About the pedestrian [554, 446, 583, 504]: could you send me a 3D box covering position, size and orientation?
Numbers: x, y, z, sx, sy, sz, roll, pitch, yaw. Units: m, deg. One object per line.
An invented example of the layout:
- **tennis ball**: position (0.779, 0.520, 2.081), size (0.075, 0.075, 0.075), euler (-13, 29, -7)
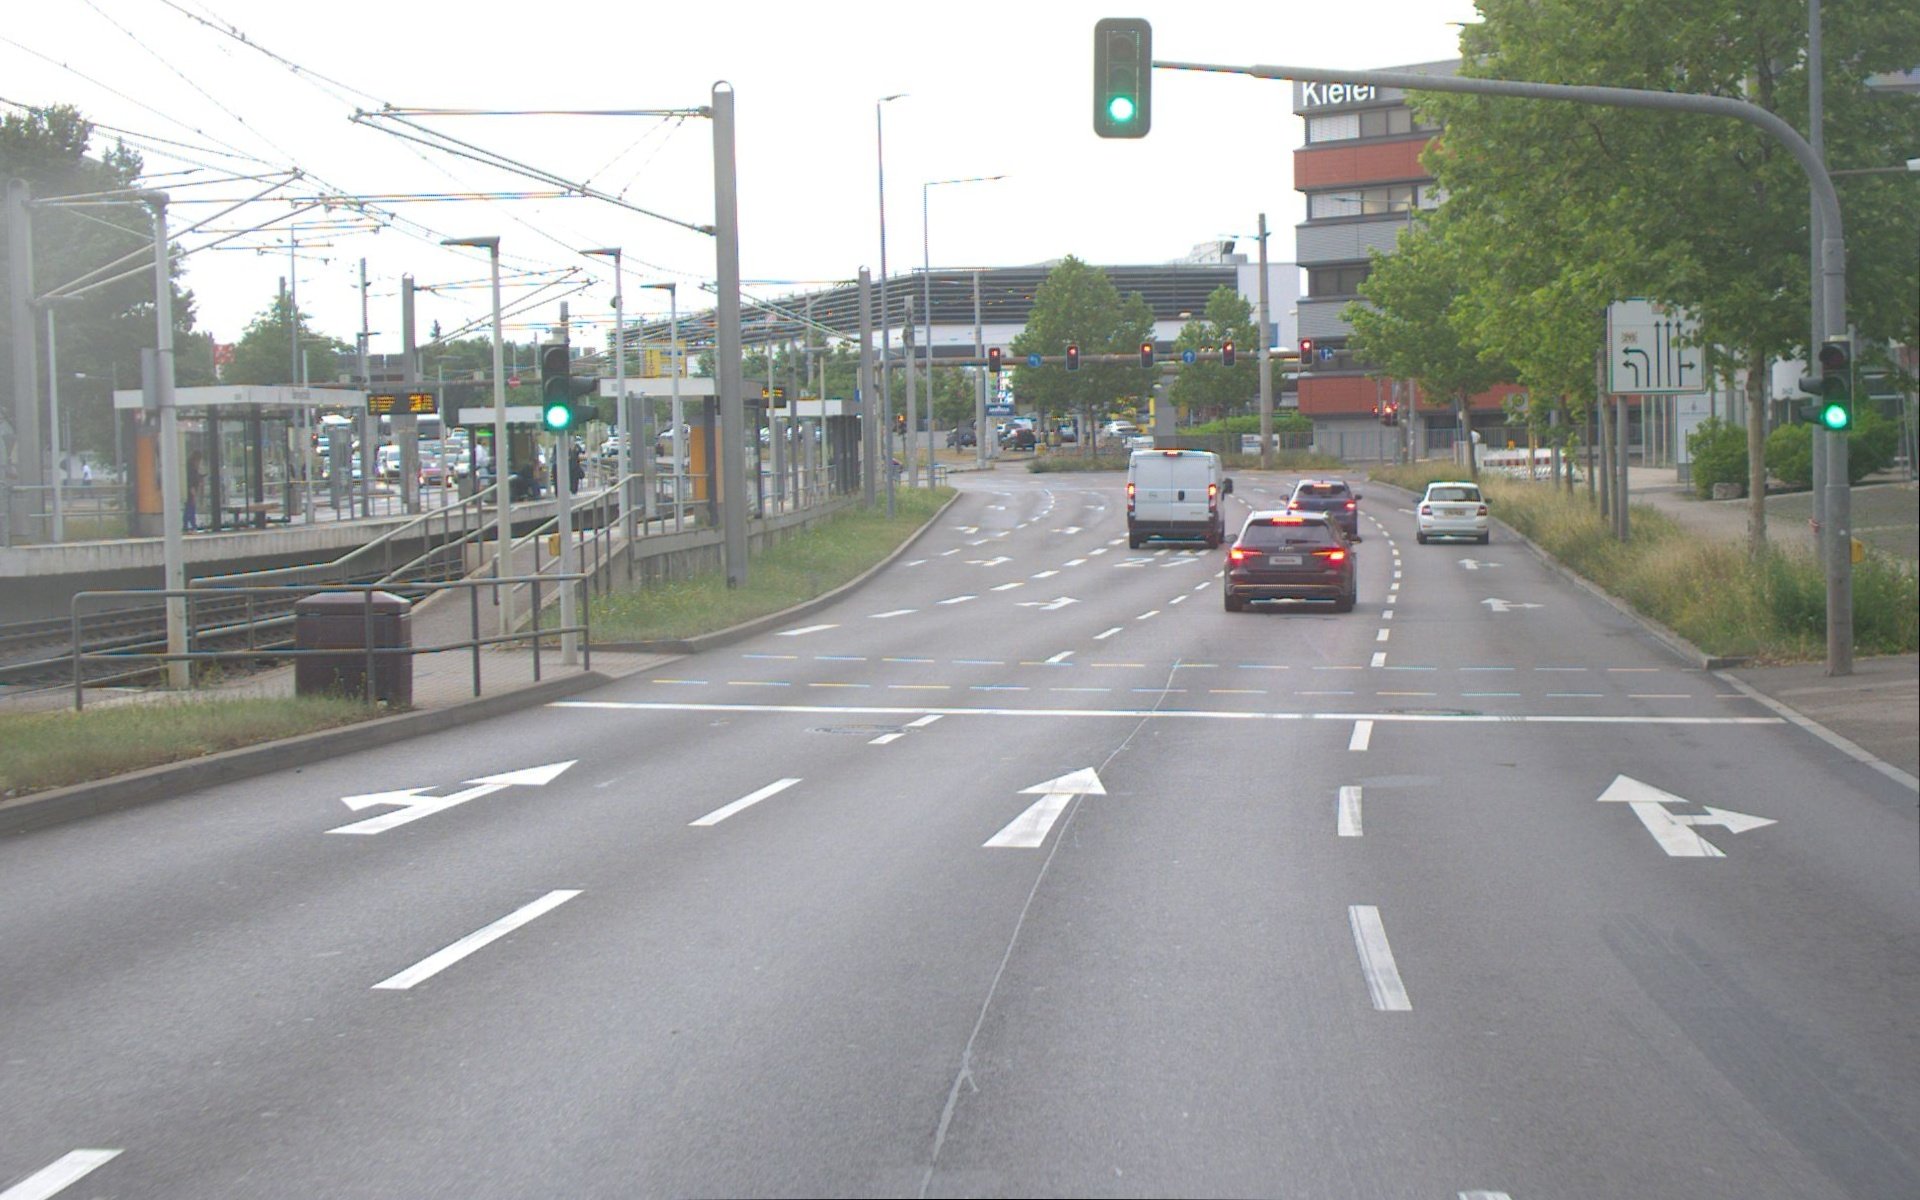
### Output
- **pedestrian**: position (-11.722, -3.744, 102.991), size (0.729, 1.709, 0.831), euler (0, 1, 4)

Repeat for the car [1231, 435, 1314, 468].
- **car**: position (15.837, -7.525, 174.250), size (2.022, 1.617, 3.999), euler (-1, 3, -38)

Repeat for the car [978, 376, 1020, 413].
- **car**: position (2.405, -12.700, 212.817), size (1.993, 2.007, 4.001), euler (0, 0, -8)

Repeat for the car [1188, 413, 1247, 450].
- **car**: position (15.489, -10.108, 206.835), size (1.993, 2.007, 4.001), euler (0, 0, -22)

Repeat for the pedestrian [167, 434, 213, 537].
- **pedestrian**: position (-13.990, -2.079, 62.442), size (0.637, 1.848, 0.751), euler (0, -1, 2)

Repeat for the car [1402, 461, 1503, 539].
- **car**: position (11.788, -2.418, 82.518), size (2.021, 1.763, 4.000), euler (0, 3, 3)

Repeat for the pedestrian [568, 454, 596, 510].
- **pedestrian**: position (-12.027, -3.761, 109.356), size (0.752, 1.745, 0.764), euler (0, -1, 3)

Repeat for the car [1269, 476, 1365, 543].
- **car**: position (8.879, -2.272, 85.761), size (2.021, 1.617, 4.000), euler (0, 2, 1)

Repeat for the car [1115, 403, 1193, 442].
- **car**: position (10.377, -9.479, 184.127), size (1.994, 2.006, 3.999), euler (0, 2, -38)

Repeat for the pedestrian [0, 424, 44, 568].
- **pedestrian**: position (-12.957, -1.424, 47.270), size (0.549, 1.946, 0.664), euler (0, -1, -1)

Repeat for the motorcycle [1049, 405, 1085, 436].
- **motorcycle**: position (7.859, -13.164, 252.110), size (1.993, 2.007, 4.001), euler (0, 0, -8)

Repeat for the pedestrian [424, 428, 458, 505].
- **pedestrian**: position (-13.881, -3.560, 91.885), size (0.855, 2.007, 1.041), euler (0, 0, -7)

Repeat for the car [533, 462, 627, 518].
- **car**: position (-9.563, -2.787, 86.706), size (1.859, 1.331, 3.334), euler (0, 3, 2)

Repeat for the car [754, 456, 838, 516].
- **car**: position (-4.538, -3.187, 95.529), size (1.994, 1.447, 3.848), euler (0, 5, 3)

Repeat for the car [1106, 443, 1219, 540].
- **car**: position (4.721, -2.533, 79.622), size (2.511, 2.169, 5.149), euler (0, 2, 4)

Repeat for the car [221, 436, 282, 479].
- **car**: position (-36.132, -7.255, 175.271), size (1.993, 2.007, 4.000), euler (0, 0, -29)

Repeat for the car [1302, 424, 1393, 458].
- **car**: position (19.168, -7.873, 170.174), size (2.022, 1.617, 4.324), euler (-1, 3, -38)

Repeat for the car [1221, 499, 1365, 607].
- **car**: position (4.830, -0.715, 49.382), size (1.765, 1.458, 4.625), euler (0, 2, 9)

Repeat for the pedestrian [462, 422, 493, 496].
- **pedestrian**: position (-13.563, -3.956, 96.676), size (0.689, 2.073, 0.714), euler (0, 2, 8)

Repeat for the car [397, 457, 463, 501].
- **car**: position (-26.343, -5.973, 170.667), size (1.993, 2.007, 4.000), euler (0, 0, -29)

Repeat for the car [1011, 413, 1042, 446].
- **car**: position (4.413, -11.325, 228.389), size (1.817, 2.007, 3.471), euler (0, 0, -3)
